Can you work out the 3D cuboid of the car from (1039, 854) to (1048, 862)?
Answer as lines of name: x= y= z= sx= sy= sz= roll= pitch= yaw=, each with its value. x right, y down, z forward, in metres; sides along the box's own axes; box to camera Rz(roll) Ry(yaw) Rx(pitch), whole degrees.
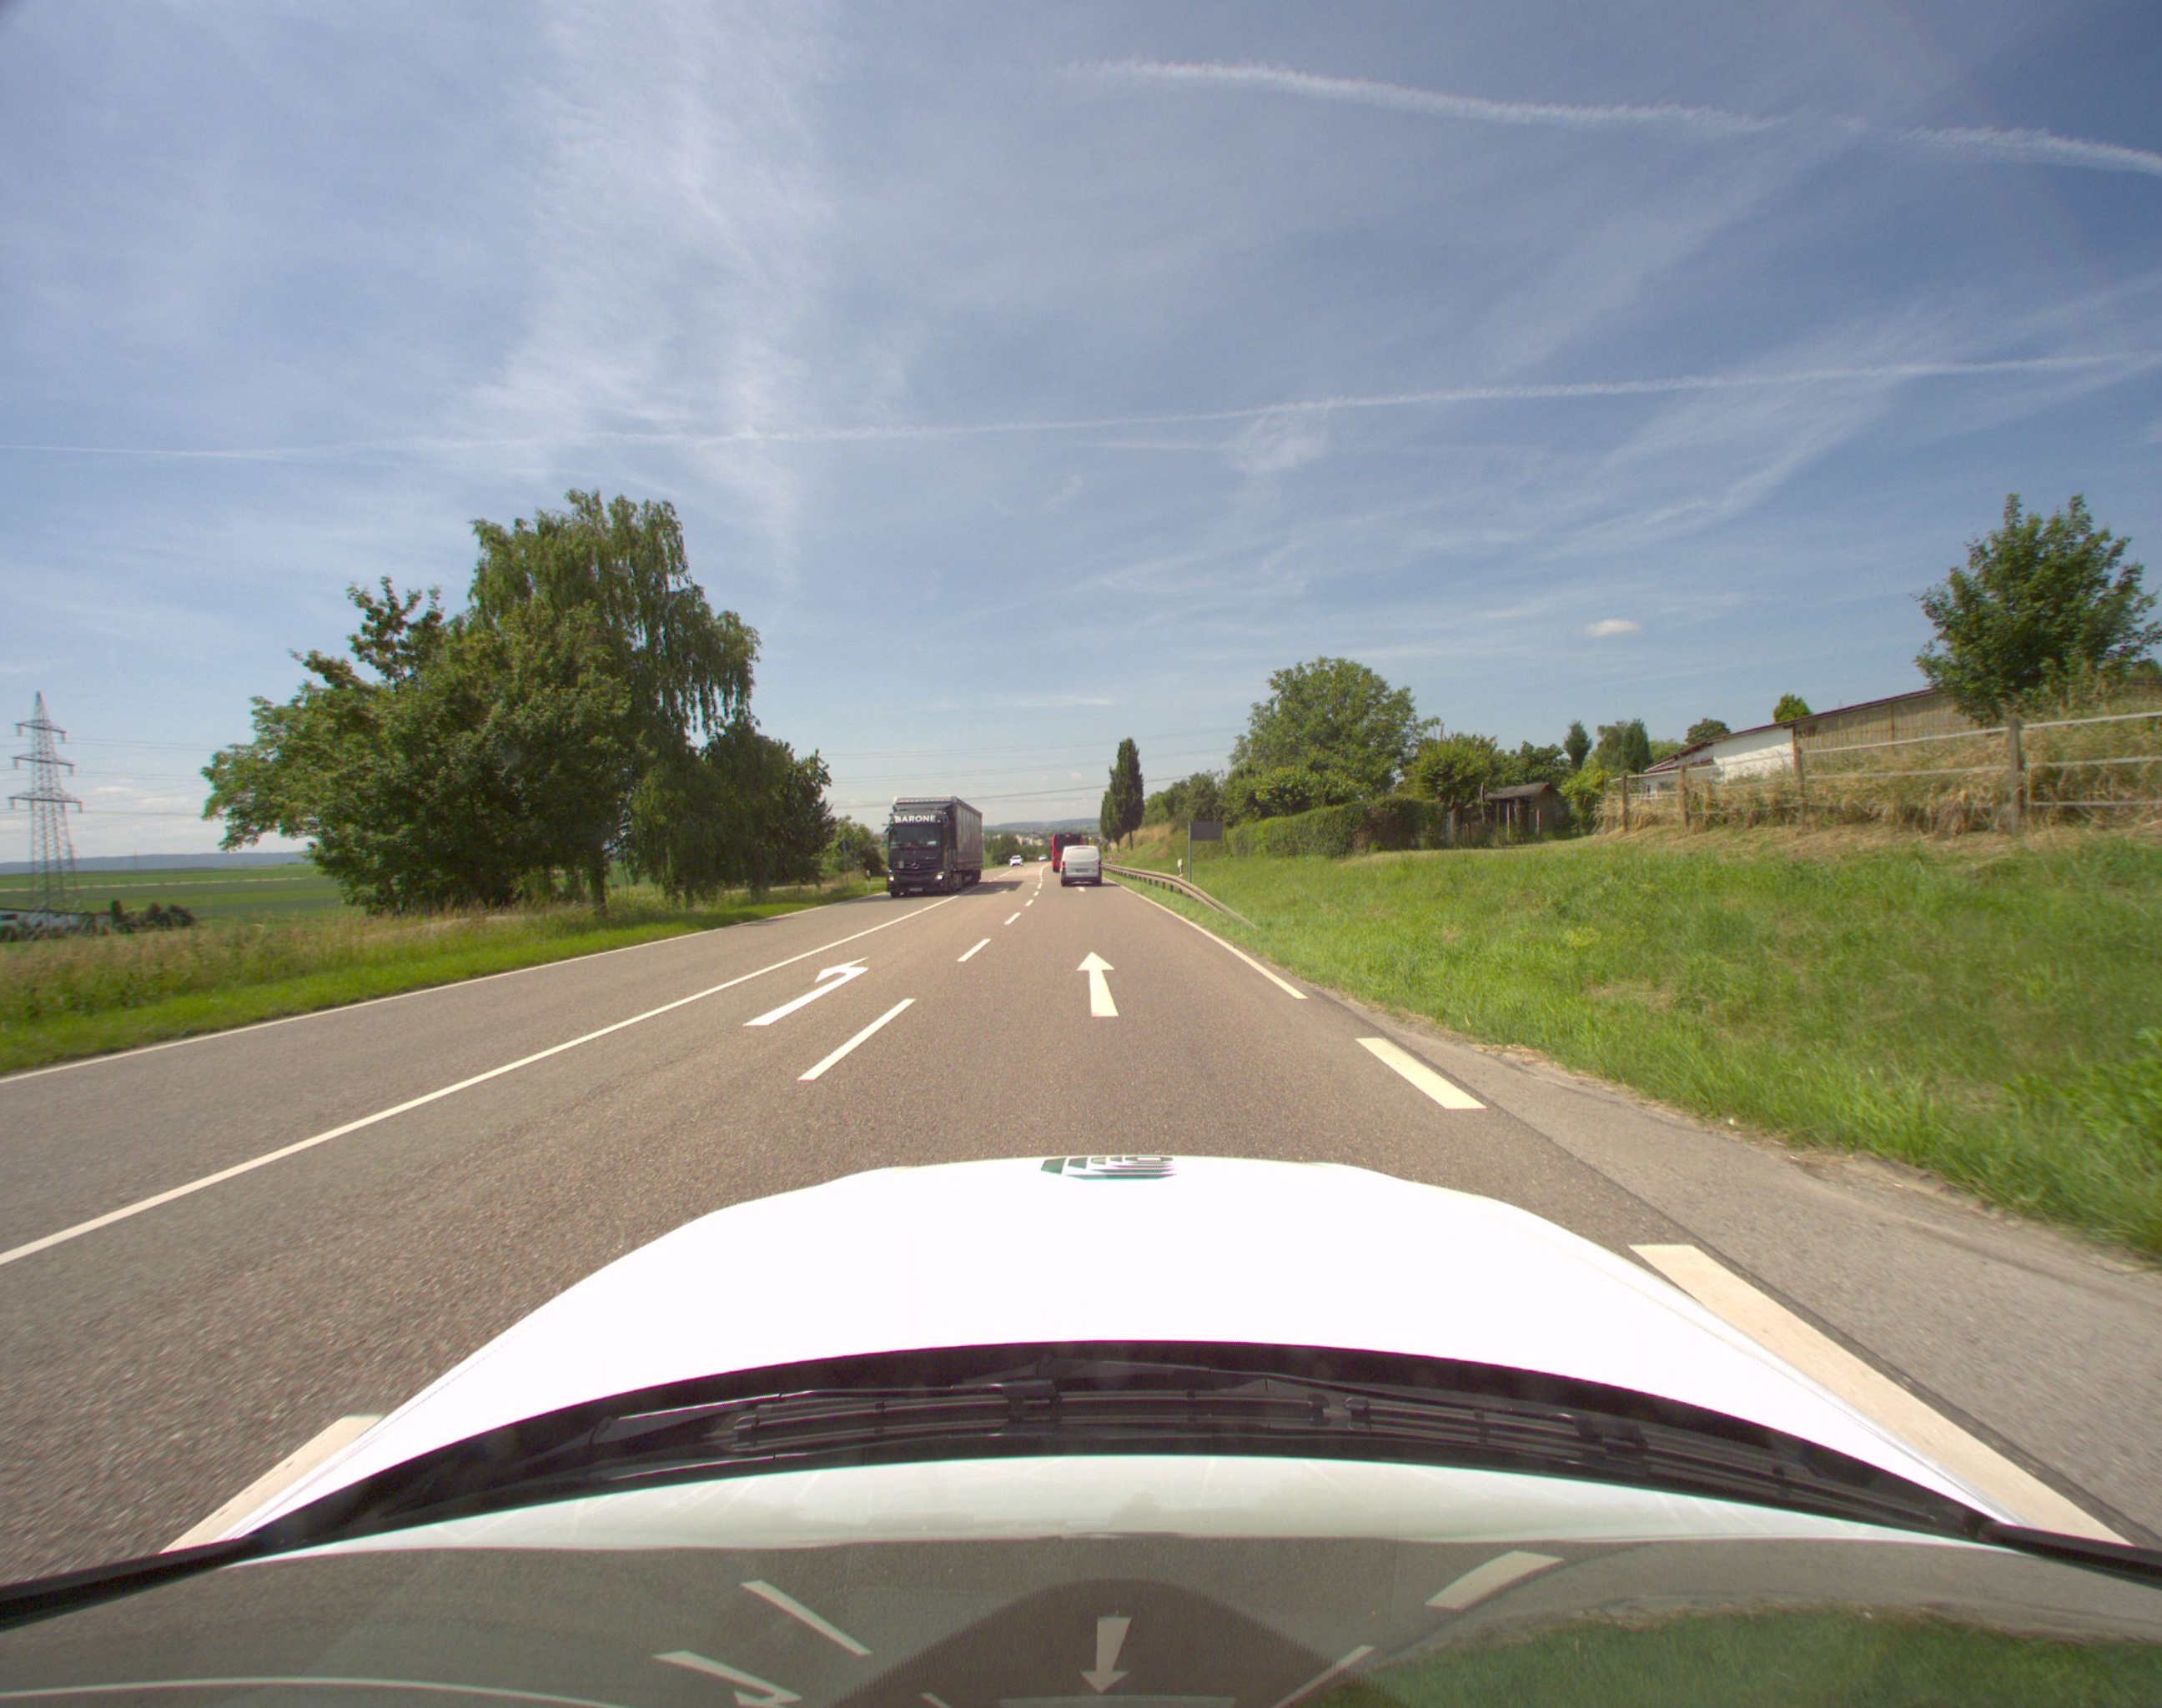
car: x=-8.912 y=0.878 z=193.481 sx=1.761 sy=1.687 sz=3.825 roll=-3 pitch=0 yaw=0

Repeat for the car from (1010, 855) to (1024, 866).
car: x=-9.762 y=1.043 z=125.196 sx=1.849 sy=1.565 sz=4.072 roll=-3 pitch=0 yaw=-1

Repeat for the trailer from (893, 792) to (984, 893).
trailer: x=-6.738 y=-0.479 z=40.768 sx=2.586 sy=4.142 sz=13.728 roll=-2 pitch=0 yaw=-2

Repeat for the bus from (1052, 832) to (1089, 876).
bus: x=-1.072 y=-0.206 z=72.939 sx=2.740 sy=3.352 sz=13.214 roll=-4 pitch=2 yaw=-2

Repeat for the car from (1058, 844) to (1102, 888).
car: x=-0.013 y=0.519 z=38.786 sx=1.917 sy=1.889 sz=4.001 roll=-3 pitch=0 yaw=1

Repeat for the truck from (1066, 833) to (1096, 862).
truck: x=0.129 y=-1.154 z=139.525 sx=3.471 sy=4.423 sz=14.926 roll=-3 pitch=0 yaw=6

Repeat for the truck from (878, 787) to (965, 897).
truck: x=-6.494 y=-0.459 z=33.856 sx=2.579 sy=4.104 sz=5.437 roll=-2 pitch=0 yaw=-2
